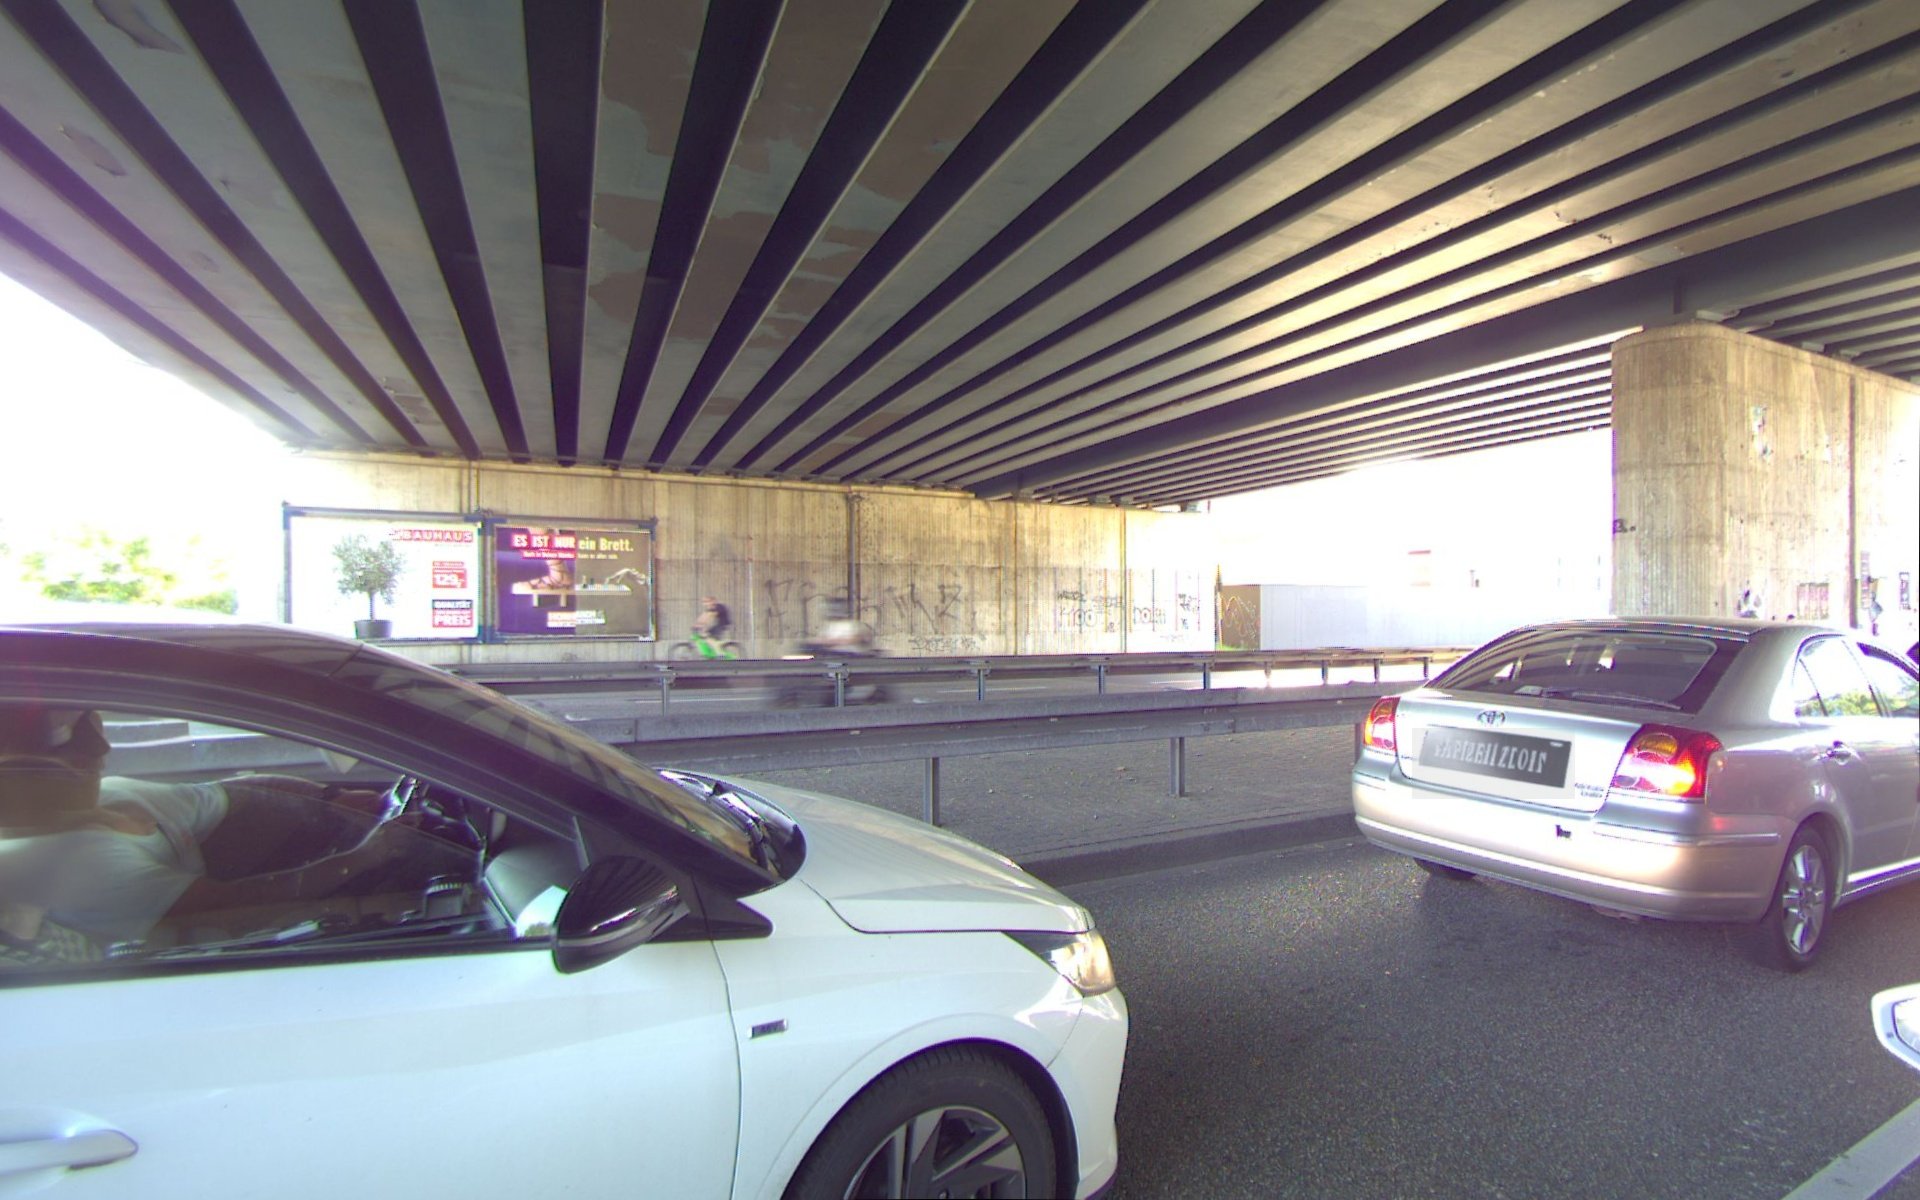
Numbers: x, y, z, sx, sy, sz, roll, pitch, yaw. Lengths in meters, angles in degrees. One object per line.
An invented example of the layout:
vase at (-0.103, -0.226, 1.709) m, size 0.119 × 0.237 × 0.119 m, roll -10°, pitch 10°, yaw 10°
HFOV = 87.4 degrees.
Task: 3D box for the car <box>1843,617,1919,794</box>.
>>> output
car at (9.617, 0.903, 8.870) m, size 3.770 × 1.429 × 1.684 m, roll 1°, pitch 0°, yaw -31°

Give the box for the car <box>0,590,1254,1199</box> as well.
car at (-1.414, 0.708, 1.988) m, size 3.828 × 1.423 × 1.723 m, roll 1°, pitch 0°, yaw -32°

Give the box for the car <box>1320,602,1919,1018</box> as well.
car at (4.112, 0.795, 5.465) m, size 4.347 × 1.474 × 1.688 m, roll 1°, pitch 0°, yaw -31°

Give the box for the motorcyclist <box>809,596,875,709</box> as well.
motorcyclist at (-1.679, 0.725, 14.239) m, size 0.690 × 1.548 × 0.693 m, roll 0°, pitch 1°, yaw -30°

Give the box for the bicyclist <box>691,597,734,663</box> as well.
bicyclist at (-5.923, 0.719, 24.071) m, size 0.827 × 1.545 × 0.624 m, roll 2°, pitch 0°, yaw -30°

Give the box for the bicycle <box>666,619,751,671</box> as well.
bicycle at (-6.009, 1.081, 24.030) m, size 1.856 × 1.181 × 0.631 m, roll 2°, pitch 0°, yaw -30°

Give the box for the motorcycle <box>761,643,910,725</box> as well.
motorcycle at (-1.741, 1.155, 14.209) m, size 1.985 × 1.041 × 0.689 m, roll 0°, pitch 0°, yaw -30°
